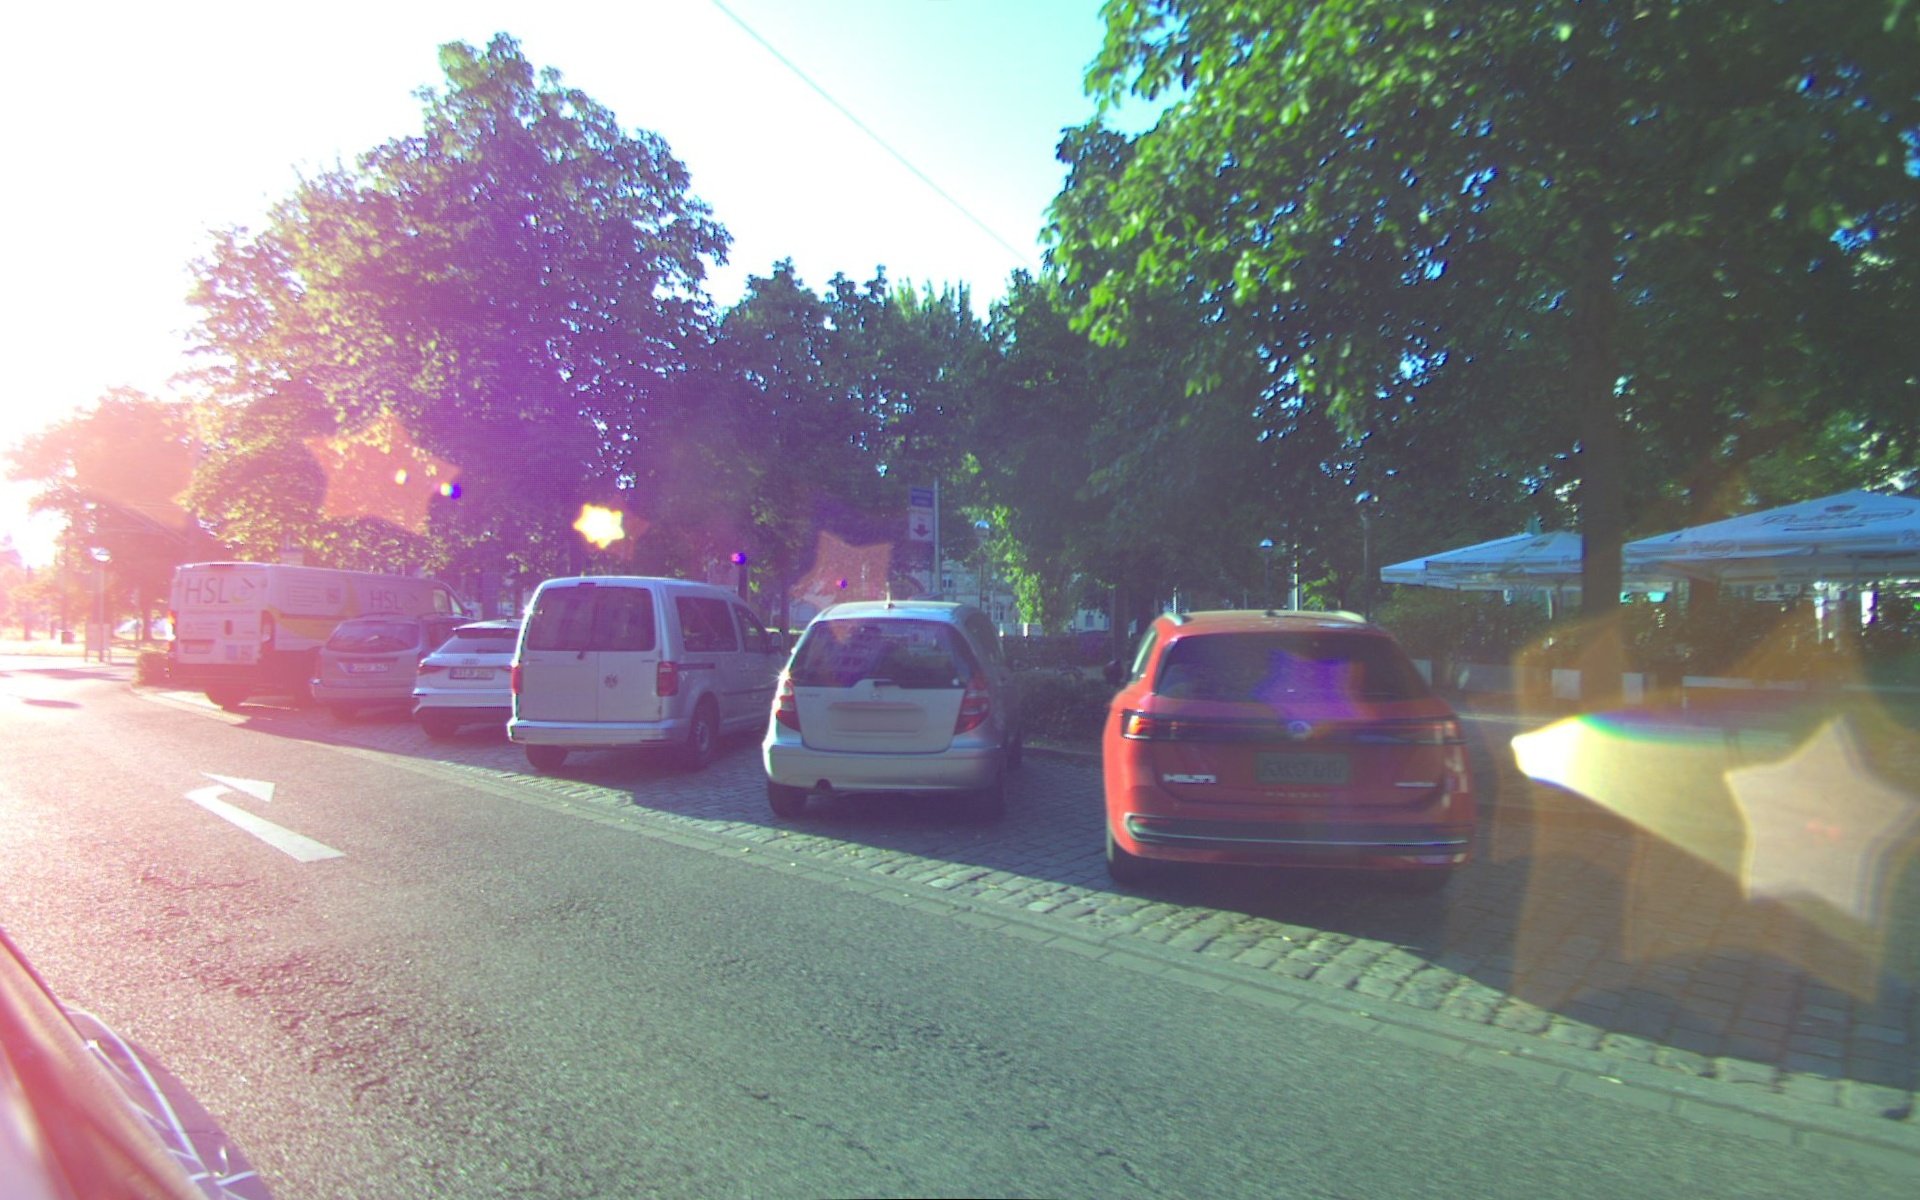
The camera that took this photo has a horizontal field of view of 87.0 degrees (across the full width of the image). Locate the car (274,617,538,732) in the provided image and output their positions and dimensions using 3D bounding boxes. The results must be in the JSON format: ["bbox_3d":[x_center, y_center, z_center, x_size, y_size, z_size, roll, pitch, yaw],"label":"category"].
[{"bbox_3d":[-8.179,1.034,15.412,1.856,1.479,4.000,-1,-1,0],"label":"car"}]

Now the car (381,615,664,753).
[{"bbox_3d":[-5.490,0.976,13.318,1.826,1.503,3.996,-1,-1,3],"label":"car"}]

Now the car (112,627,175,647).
[{"bbox_3d":[-120.936,5.482,149.991,2.290,2.900,7.157,-2,-2,19],"label":"car"}]

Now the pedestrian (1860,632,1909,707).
[{"bbox_3d":[16.255,1.219,17.794,0.527,1.286,0.527,3,-5,-41],"label":"pedestrian"}]

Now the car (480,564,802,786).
[{"bbox_3d":[-3.095,0.698,10.766,1.848,1.892,3.993,-1,-1,6],"label":"car"}]

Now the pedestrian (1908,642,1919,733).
[{"bbox_3d":[12.703,1.135,13.114,0.527,1.164,0.527,3,-5,-41],"label":"pedestrian"}]

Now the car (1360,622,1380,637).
[{"bbox_3d":[52.876,3.774,130.480,1.983,1.785,3.977,-2,-1,17],"label":"car"}]

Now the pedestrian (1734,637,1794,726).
[{"bbox_3d":[11.050,1.107,13.910,0.572,1.181,0.535,3,-4,-41],"label":"pedestrian"}]

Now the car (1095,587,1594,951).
[{"bbox_3d":[1.868,0.766,6.306,1.976,1.497,3.991,-1,-2,7],"label":"car"}]

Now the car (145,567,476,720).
[{"bbox_3d":[-10.940,0.691,17.525,2.182,2.268,4.591,-1,-1,15],"label":"car"}]

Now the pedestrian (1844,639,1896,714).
[{"bbox_3d":[14.745,1.237,16.392,0.527,1.183,0.527,3,-5,-41],"label":"pedestrian"}]

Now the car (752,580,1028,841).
[{"bbox_3d":[-0.347,0.753,8.715,1.728,1.709,3.993,-1,-1,6],"label":"car"}]

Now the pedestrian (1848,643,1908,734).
[{"bbox_3d":[12.264,1.170,13.523,0.527,1.163,0.527,3,-3,-41],"label":"pedestrian"}]

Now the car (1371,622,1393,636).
[{"bbox_3d":[51.421,3.515,123.335,1.983,1.697,3.977,-2,-1,17],"label":"car"}]

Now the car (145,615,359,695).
[{"bbox_3d":[-15.510,1.143,22.438,1.781,1.594,3.876,-1,-1,7],"label":"car"}]
